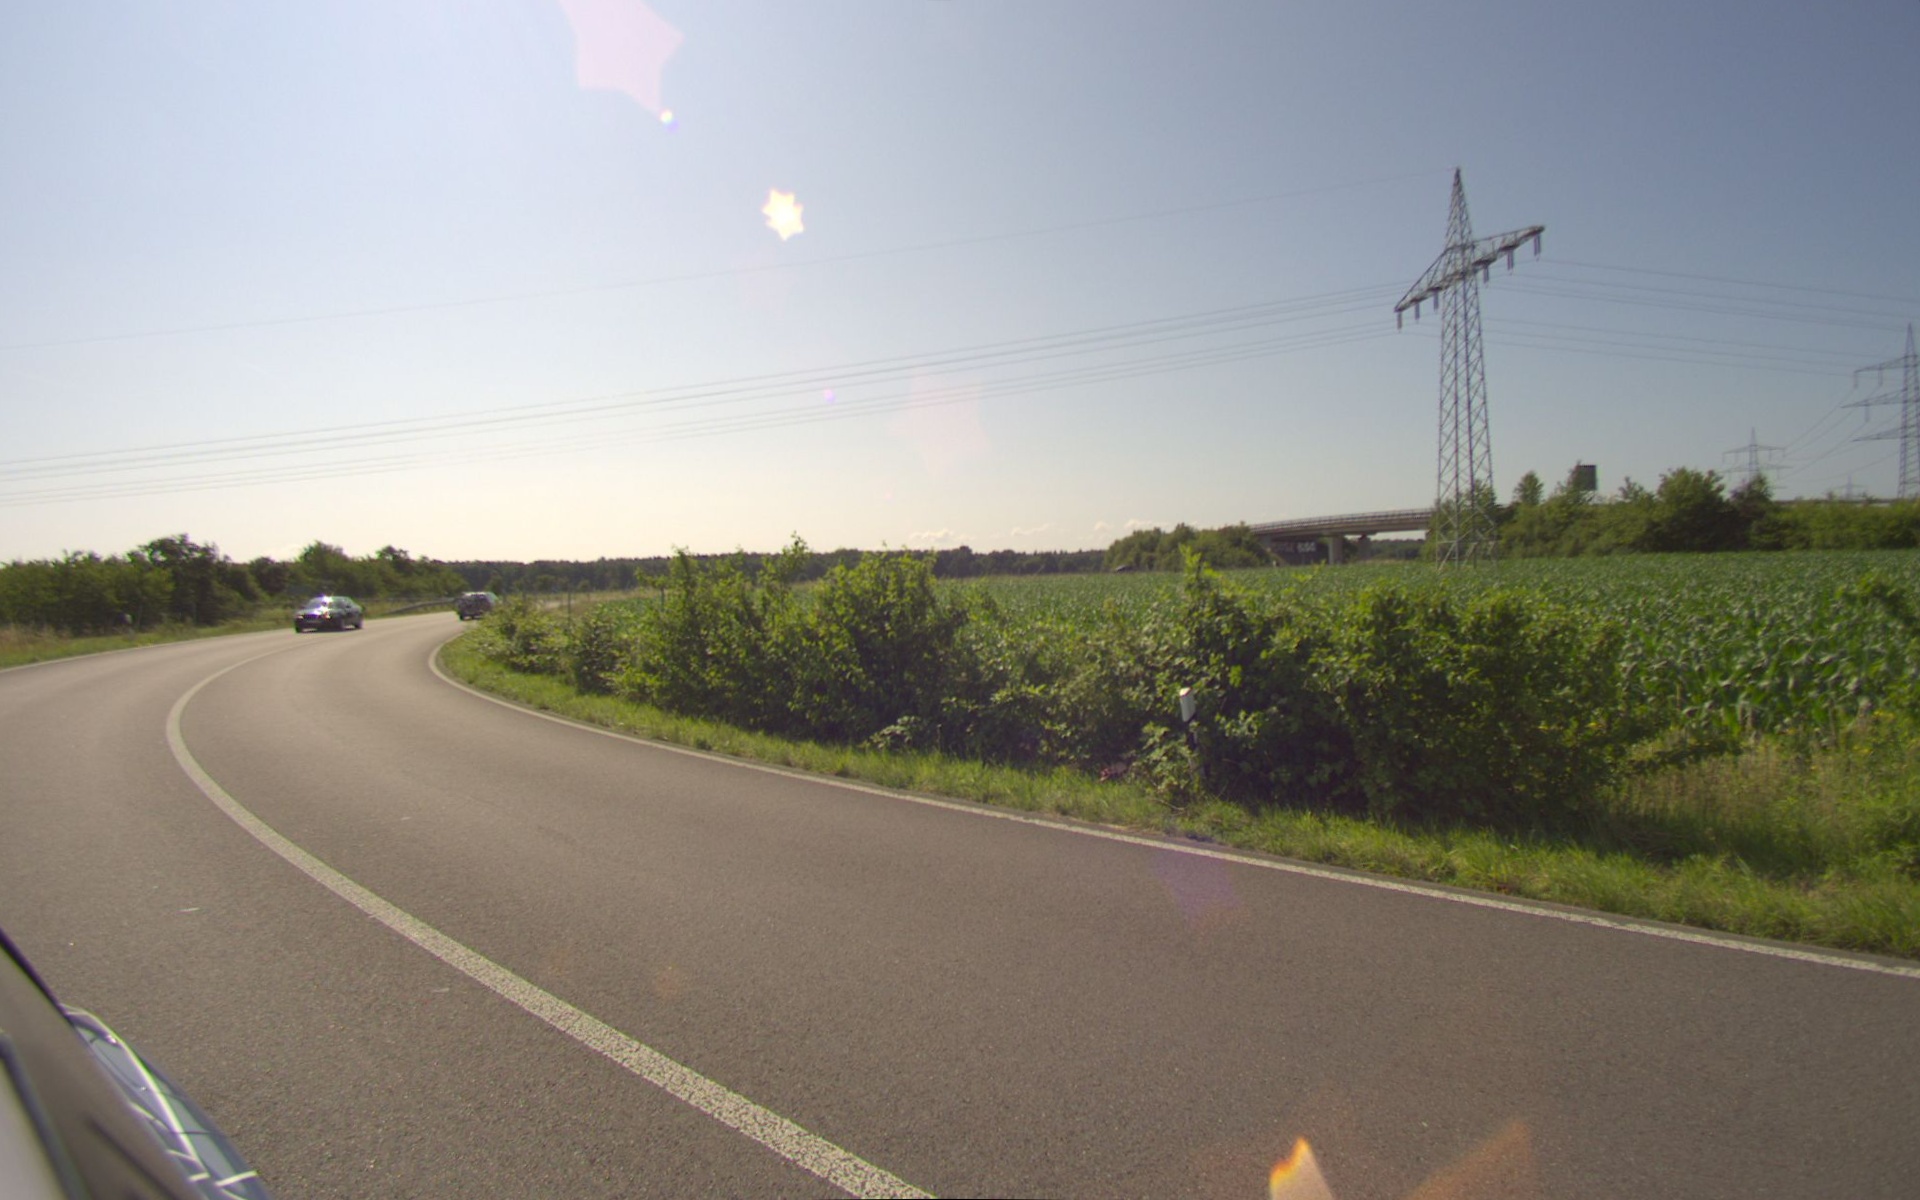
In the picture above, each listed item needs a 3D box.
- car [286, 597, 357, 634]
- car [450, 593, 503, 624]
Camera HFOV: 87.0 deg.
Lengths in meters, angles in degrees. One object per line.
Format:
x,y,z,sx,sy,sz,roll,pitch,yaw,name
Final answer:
-27.077,0.638,43.060,1.855,1.467,4.089,-1,0,-22,car
-26.352,0.428,55.307,1.840,1.492,5.152,-1,1,-17,car
